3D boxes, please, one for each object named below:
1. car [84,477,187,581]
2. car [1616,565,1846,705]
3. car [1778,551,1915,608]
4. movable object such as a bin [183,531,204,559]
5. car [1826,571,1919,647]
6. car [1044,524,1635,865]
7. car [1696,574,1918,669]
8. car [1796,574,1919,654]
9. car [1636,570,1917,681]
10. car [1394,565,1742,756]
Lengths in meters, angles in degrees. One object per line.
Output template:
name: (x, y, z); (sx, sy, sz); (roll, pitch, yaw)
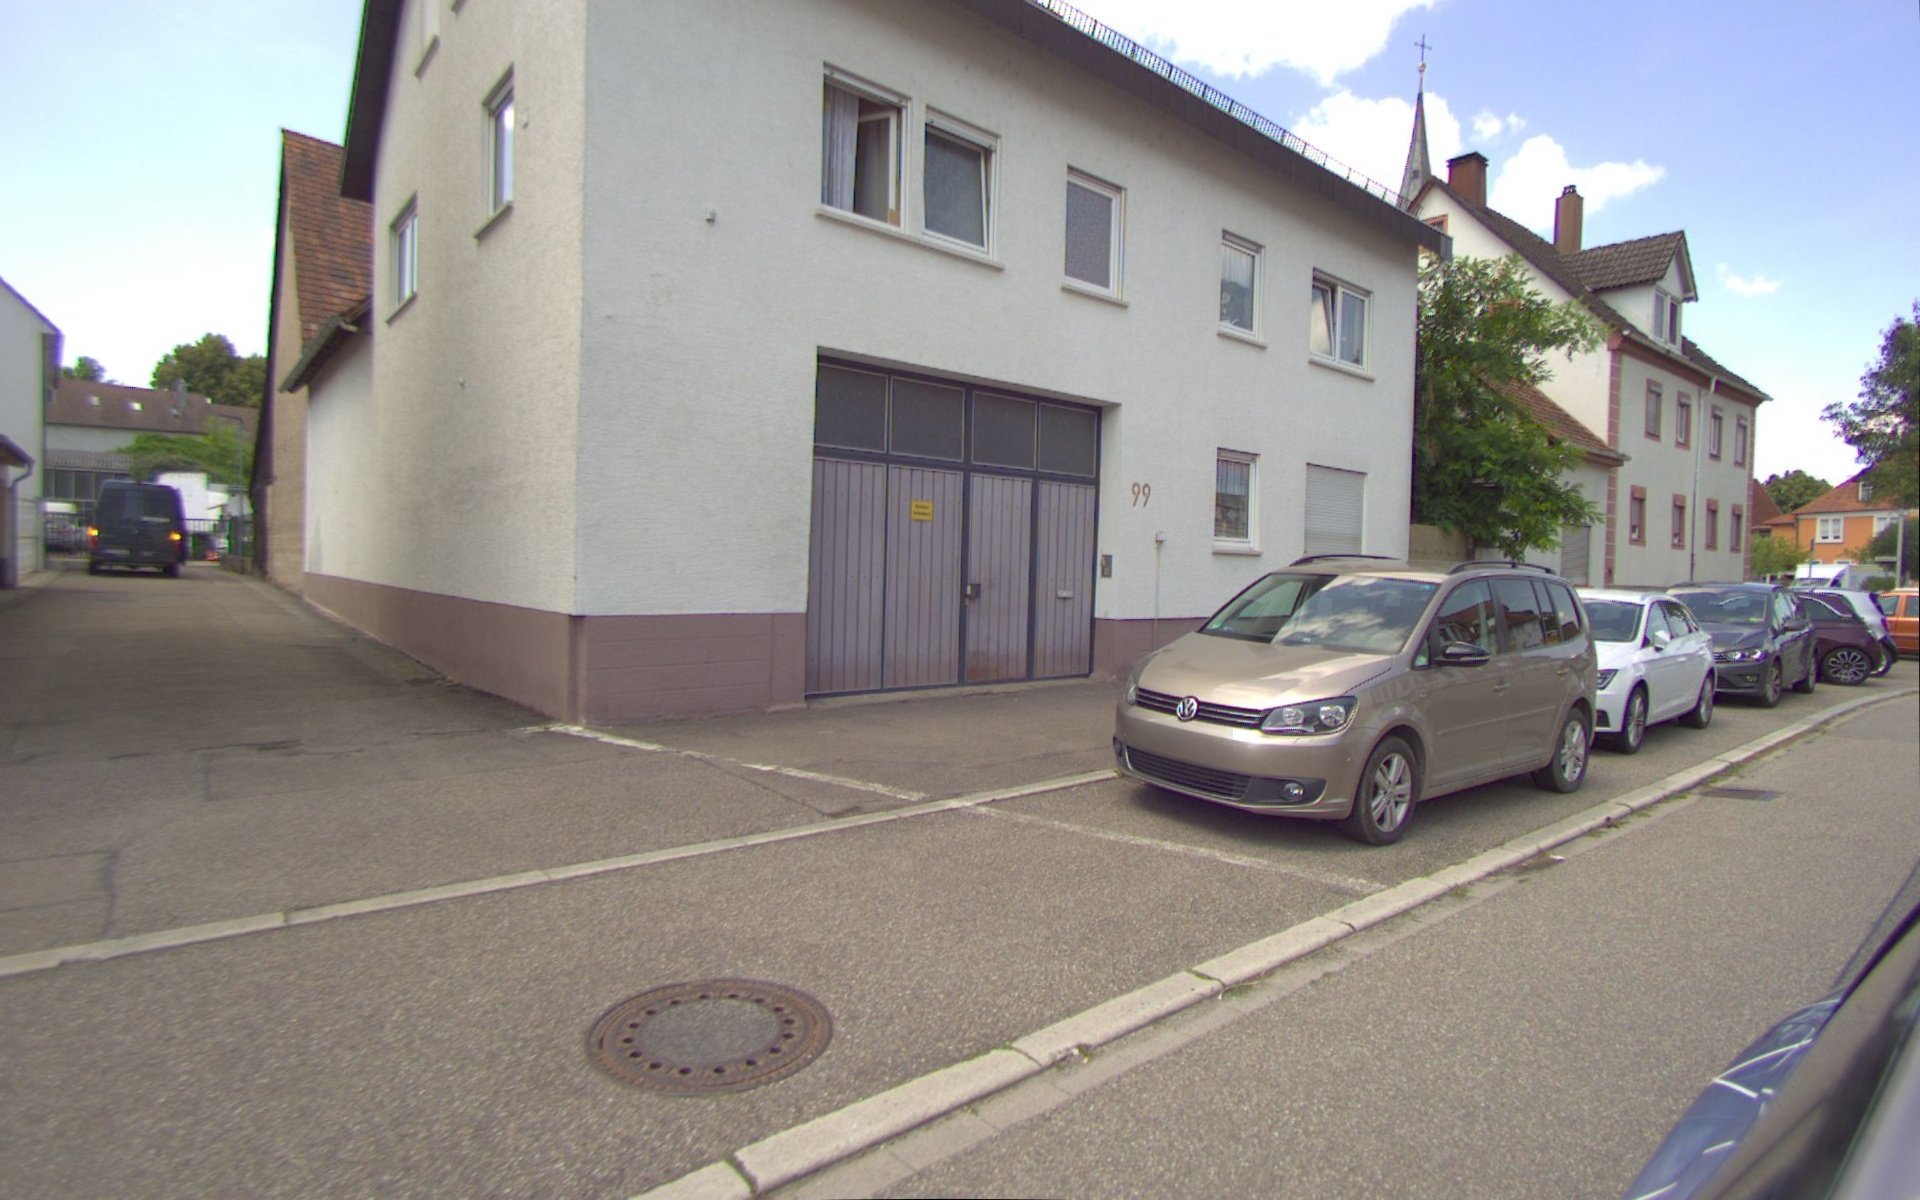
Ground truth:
car: (-23.506, -2.004, 28.803); (2.123, 2.710, 3.995); (0, 3, -42)
car: (10.888, 0.394, 14.183); (4.196, 1.644, 1.666); (0, 3, -40)
car: (49.649, -1.155, 56.691); (6.964, 2.998, 2.769); (0, 3, -21)
movable object such as a bin: (-35.634, -2.549, 47.035); (0.725, 1.297, 0.670); (0, 1, -41)
car: (22.877, 0.268, 23.565); (1.820, 1.595, 3.856); (-3, 7, -42)
car: (2.841, 0.409, 7.158); (4.245, 1.701, 1.999); (0, 3, -39)
car: (15.610, 0.326, 18.851); (2.763, 1.523, 1.860); (3, 3, 28)
car: (20.859, 0.314, 22.339); (1.695, 1.596, 3.387); (0, 4, -38)
car: (13.504, 0.349, 17.000); (3.204, 1.523, 1.811); (4, 3, 25)
car: (6.517, 0.464, 10.643); (4.298, 1.536, 1.996); (-1, 3, -43)
